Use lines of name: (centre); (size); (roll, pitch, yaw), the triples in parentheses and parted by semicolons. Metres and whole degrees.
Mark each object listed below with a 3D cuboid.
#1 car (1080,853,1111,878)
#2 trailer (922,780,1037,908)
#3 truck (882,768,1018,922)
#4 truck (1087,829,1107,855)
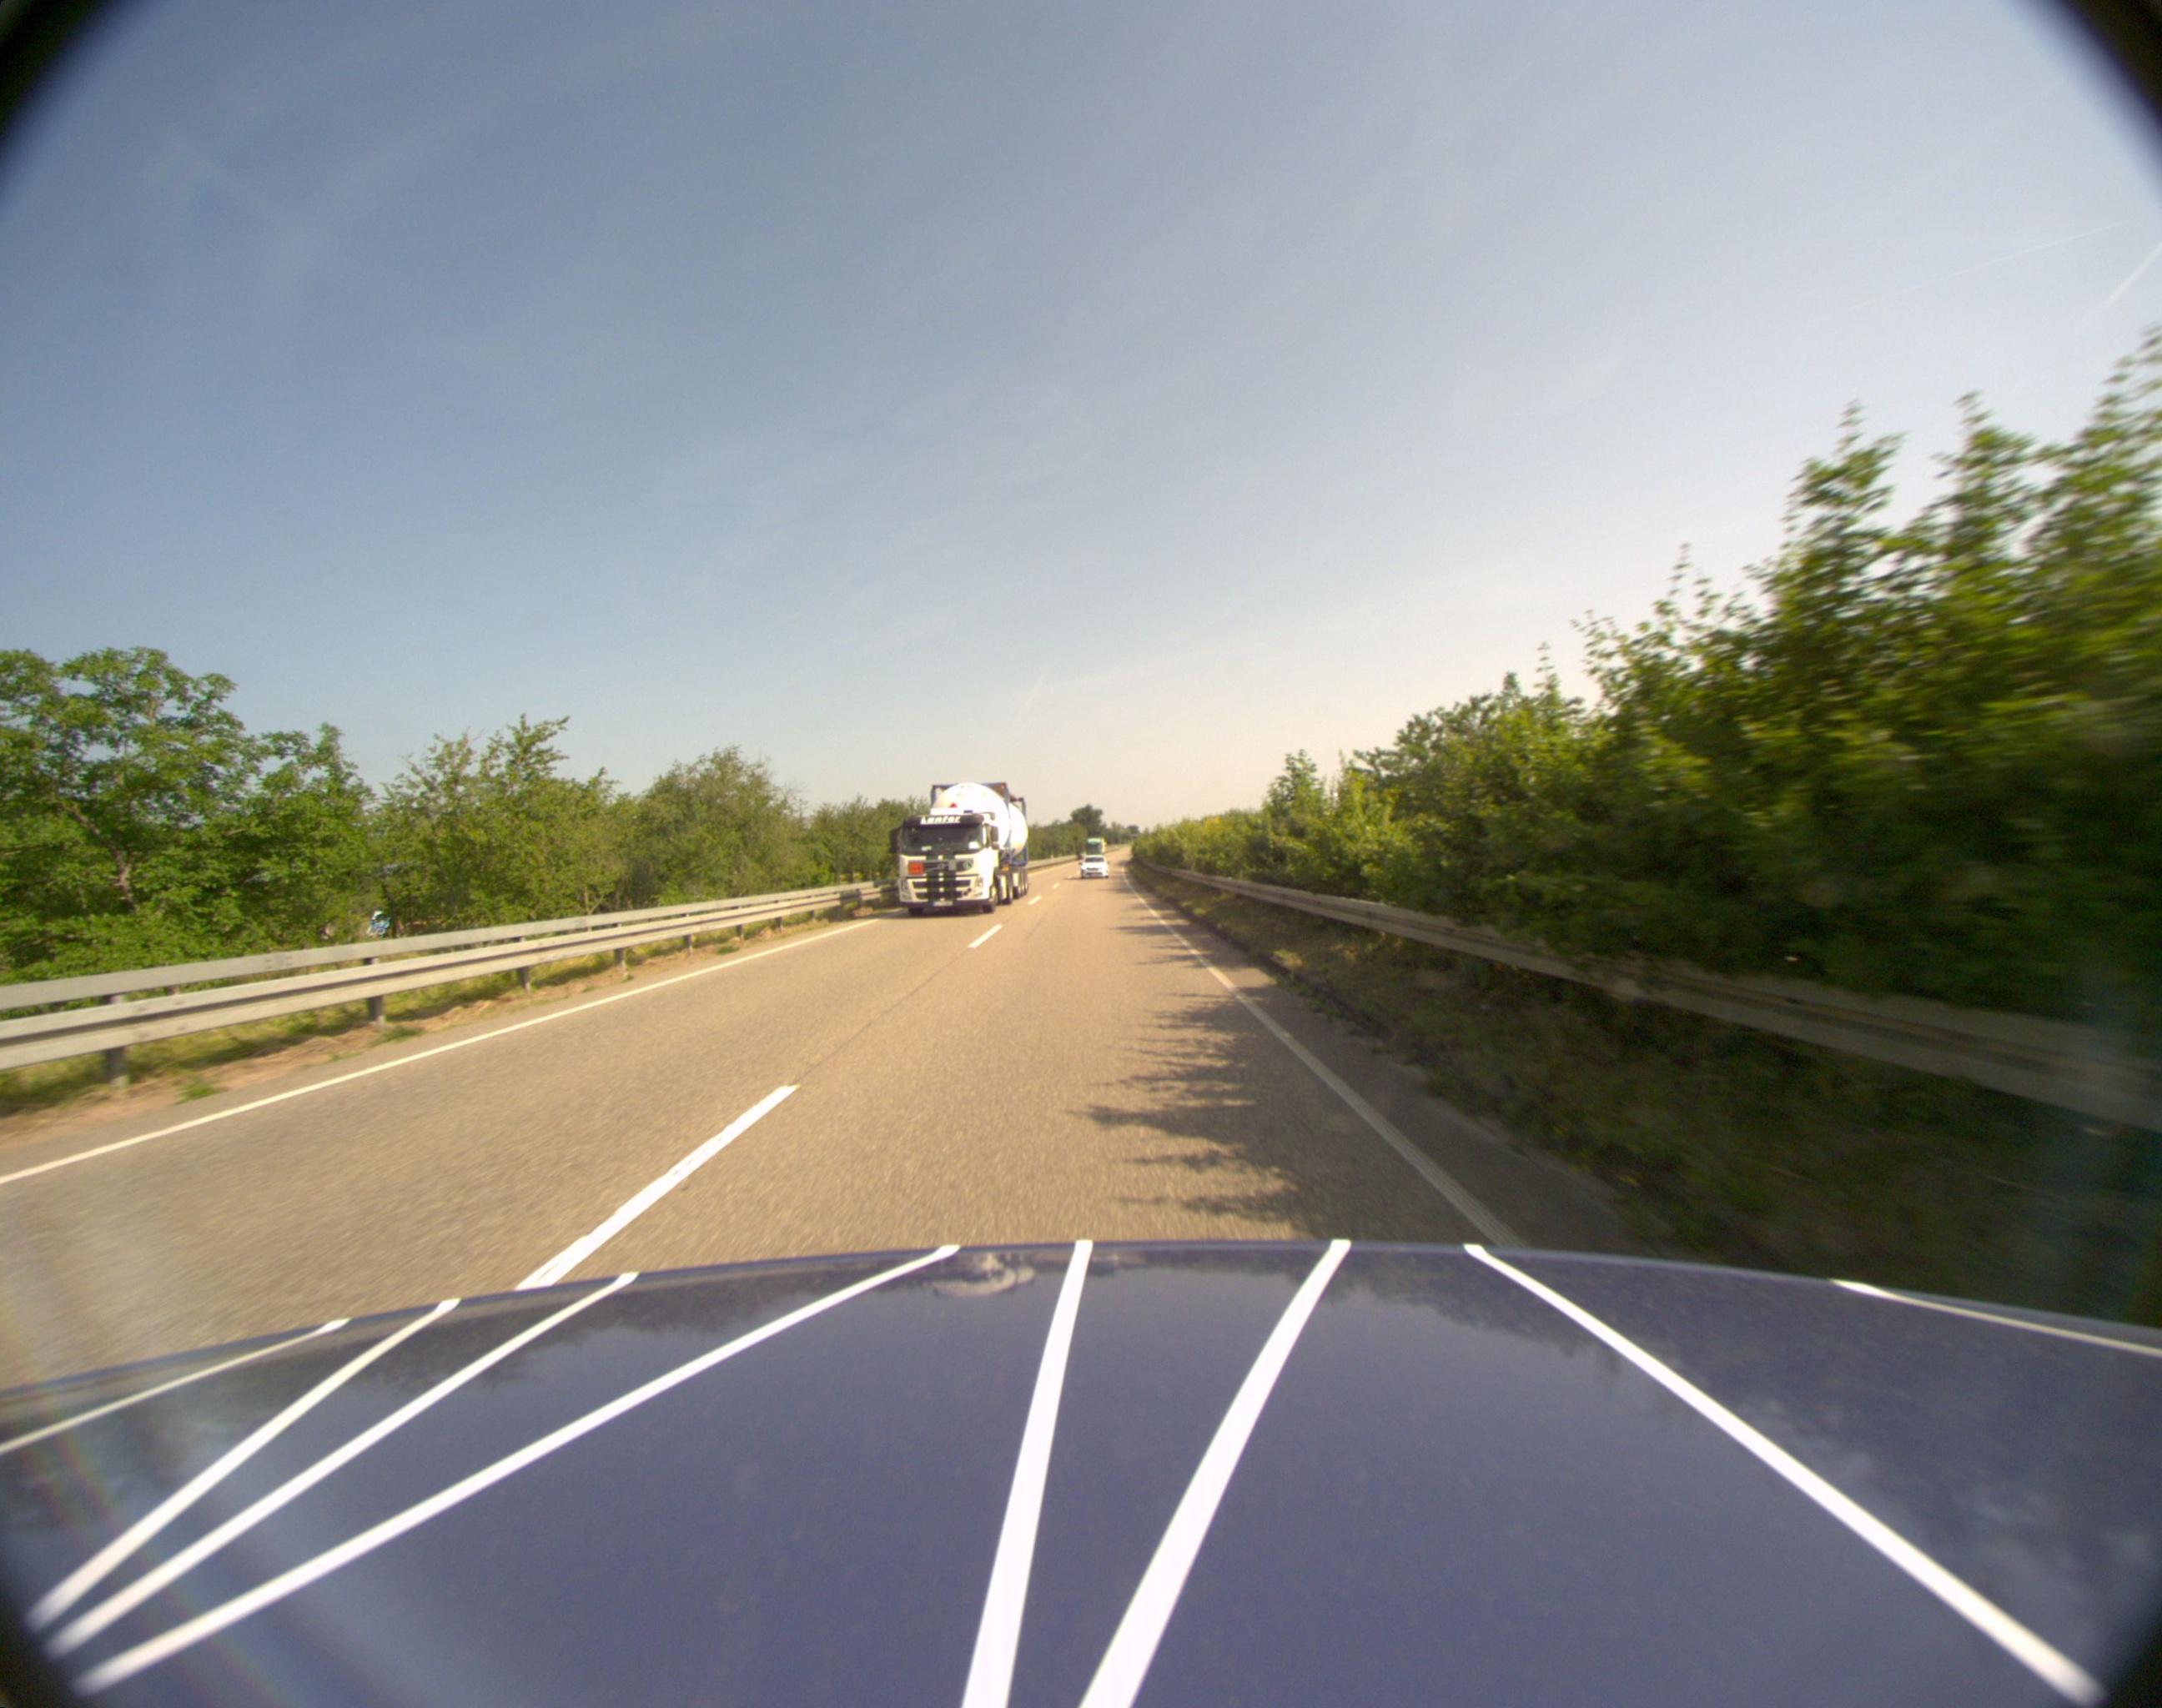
car: (0.951, 0.691, 48.669); (1.789, 1.427, 4.000); (-2, 1, 3)
trailer: (-3.444, -0.337, 28.126); (2.763, 3.968, 8.186); (-2, 0, 2)
truck: (-3.650, -0.258, 22.657); (2.778, 3.939, 5.627); (-2, 1, 2)
truck: (2.757, -2.044, 127.300); (2.548, 4.136, 8.442); (-2, 1, 6)
